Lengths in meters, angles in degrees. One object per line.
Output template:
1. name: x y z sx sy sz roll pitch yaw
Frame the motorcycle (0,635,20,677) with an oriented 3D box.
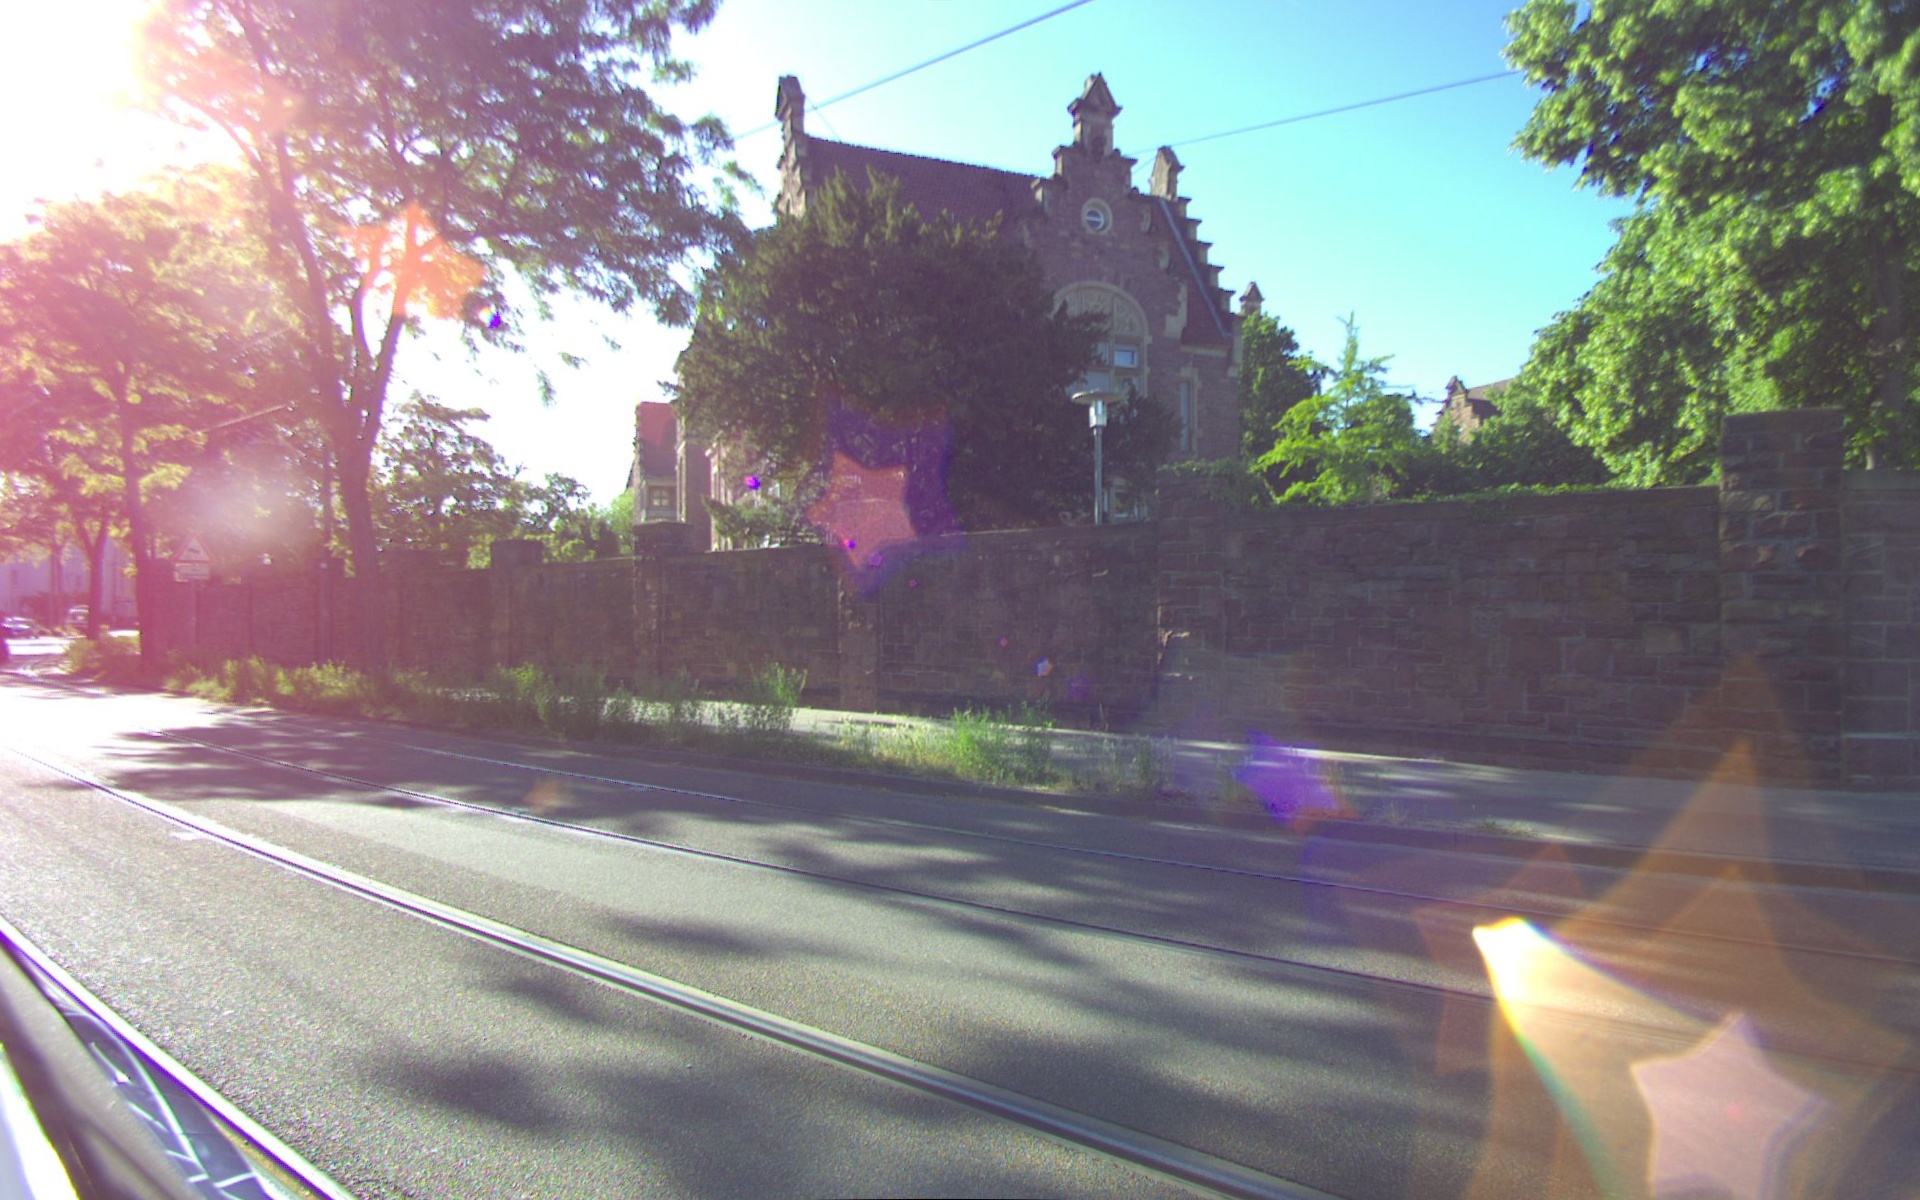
1. motorcycle: -28.160 1.622 29.375 2.425 1.162 0.903 -1 -1 38

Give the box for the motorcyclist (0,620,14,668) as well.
1. motorcyclist: -28.179 1.284 29.390 0.907 1.393 0.880 -1 -1 38
